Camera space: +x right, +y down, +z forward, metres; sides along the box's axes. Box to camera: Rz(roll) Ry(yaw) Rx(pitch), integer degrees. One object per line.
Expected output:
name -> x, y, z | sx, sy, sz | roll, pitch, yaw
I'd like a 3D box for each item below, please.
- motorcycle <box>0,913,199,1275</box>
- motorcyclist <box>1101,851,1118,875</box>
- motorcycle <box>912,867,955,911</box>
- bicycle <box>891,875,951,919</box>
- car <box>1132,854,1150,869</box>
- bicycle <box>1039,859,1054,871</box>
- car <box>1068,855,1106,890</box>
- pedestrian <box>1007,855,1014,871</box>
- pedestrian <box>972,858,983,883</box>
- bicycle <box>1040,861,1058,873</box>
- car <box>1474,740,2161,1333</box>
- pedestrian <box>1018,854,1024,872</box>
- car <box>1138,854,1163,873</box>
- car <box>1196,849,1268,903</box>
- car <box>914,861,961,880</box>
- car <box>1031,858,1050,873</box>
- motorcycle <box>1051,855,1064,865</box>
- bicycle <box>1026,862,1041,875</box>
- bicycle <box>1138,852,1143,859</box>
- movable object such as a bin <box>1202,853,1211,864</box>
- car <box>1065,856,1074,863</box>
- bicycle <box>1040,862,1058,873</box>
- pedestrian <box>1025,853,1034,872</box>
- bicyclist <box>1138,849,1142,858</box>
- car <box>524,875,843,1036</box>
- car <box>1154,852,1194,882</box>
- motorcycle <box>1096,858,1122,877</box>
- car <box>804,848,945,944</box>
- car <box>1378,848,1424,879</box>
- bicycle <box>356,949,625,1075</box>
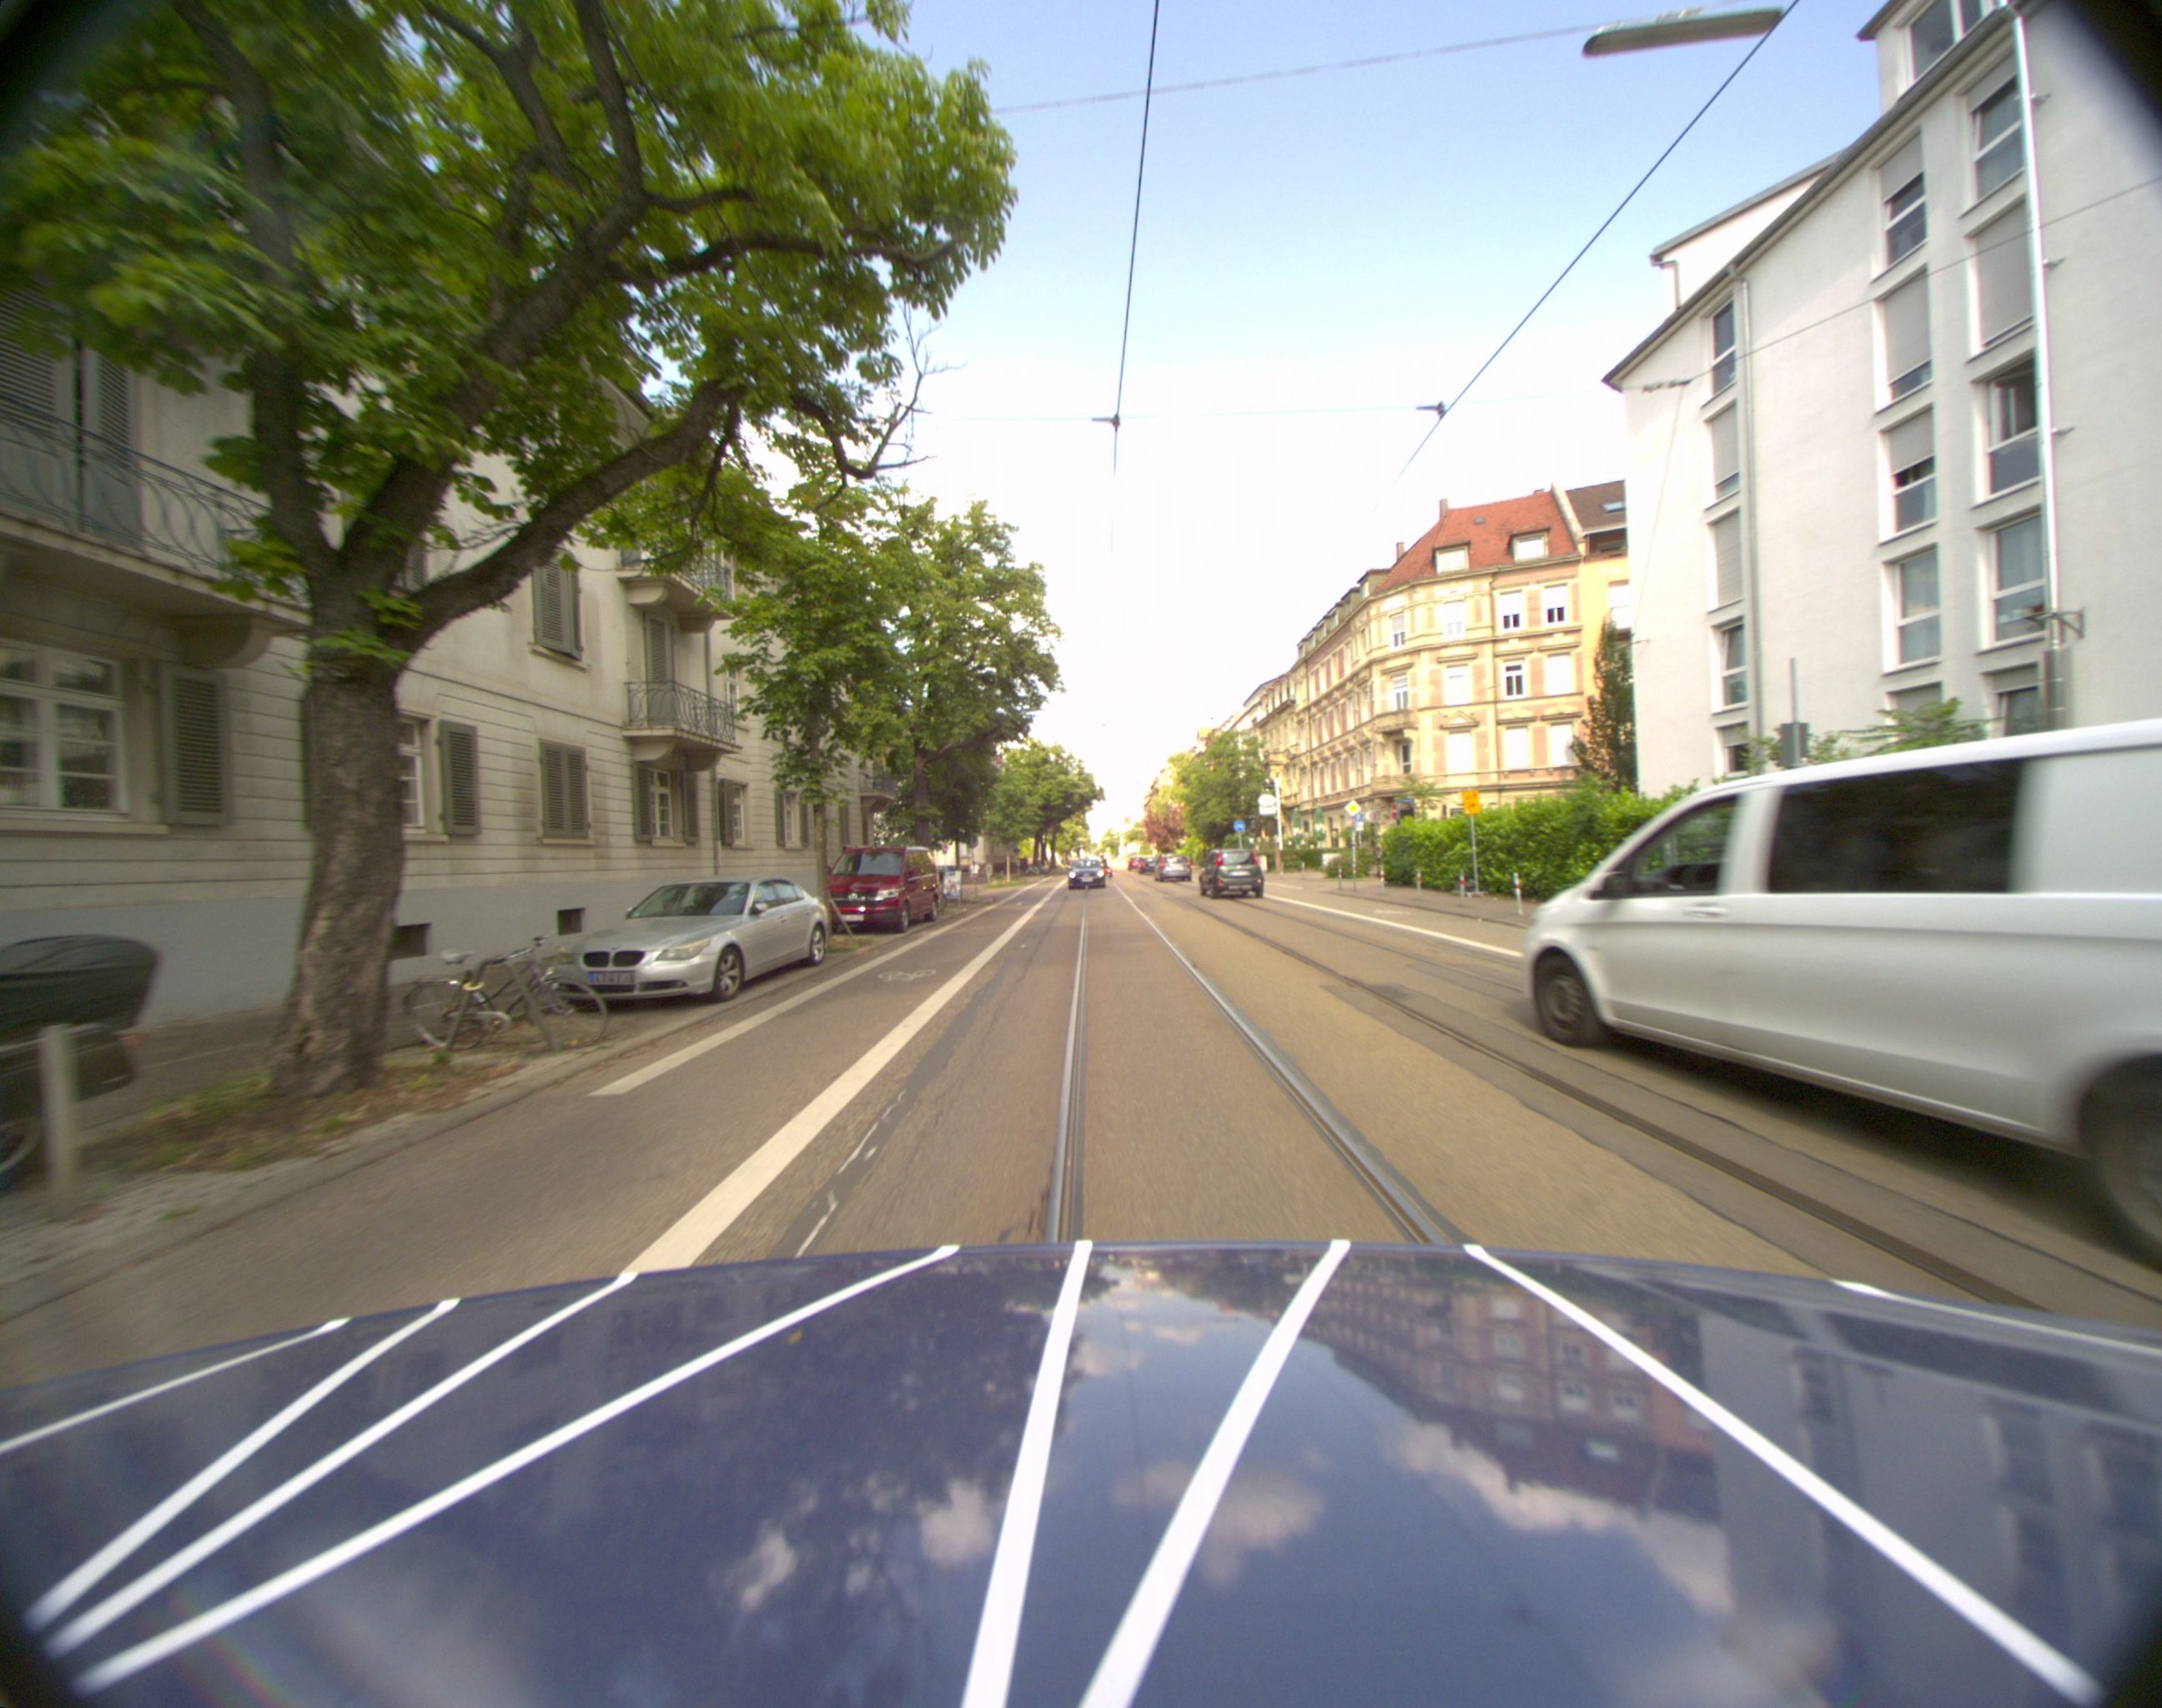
motorcycle -> -5.369, 1.104, 2.859 | 0.982, 1.533, 2.442 | -2, 0, 12
motorcyclist -> 2.072, 0.639, 55.304 | 0.742, 1.704, 0.919 | -3, 1, -35
motorcycle -> -4.942, 1.142, 25.686 | 0.859, 1.314, 2.445 | -3, 0, 1
bicycle -> -4.767, 1.283, 22.711 | 1.614, 1.196, 0.589 | -3, 1, -2
car -> 5.910, 0.709, 75.328 | 1.598, 1.432, 3.936 | -1, 0, 2
bicycle -> -3.698, 1.214, 81.912 | 1.490, 1.213, 0.518 | -3, 1, 7
car -> 0.322, 0.850, 37.549 | 1.693, 1.568, 4.157 | -3, 0, 1
pedestrian -> -7.430, 0.982, 80.038 | 0.582, 1.630, 0.976 | -3, 0, 0
pedestrian -> -7.640, 1.214, 56.078 | 0.619, 1.823, 1.030 | -3, 0, 0
bicycle -> -3.072, 1.264, 72.471 | 1.650, 1.064, 0.348 | -3, 1, 4
car -> 4.368, 0.551, 3.825 | 1.902, 1.896, 5.383 | -2, 0, -1
pedestrian -> -6.369, 0.910, 80.208 | 0.506, 1.842, 0.687 | -3, 0, 0
car -> 5.484, 0.765, 60.589 | 1.632, 1.399, 4.129 | -3, 0, 1
car -> 4.853, 0.663, 24.860 | 1.635, 1.547, 3.821 | -2, 0, 1
car -> -12.333, 1.454, 65.370 | 3.566, 1.443, 1.734 | -3, 0, 24
car -> -4.076, 1.169, 77.350 | 1.589, 1.436, 3.898 | -3, 0, 1
motorcycle -> -3.610, 0.901, 117.481 | 0.812, 1.485, 2.065 | -3, 0, -43
bicycle -> -4.221, 1.287, 67.934 | 1.271, 1.060, 0.478 | -3, 1, 0
bicycle -> 9.000, 0.277, 115.257 | 0.570, 0.984, 1.918 | -3, 0, 3
movable object such as a bin -> 12.773, 0.481, 77.423 | 0.774, 1.101, 0.734 | -3, 0, 0
car -> -2.458, 1.157, 162.062 | 1.693, 1.537, 3.617 | -3, 0, 0
bicycle -> -3.035, 1.298, 72.919 | 1.650, 1.064, 0.348 | -3, 1, 4
pedestrian -> -5.461, 0.896, 80.298 | 0.755, 1.878, 0.886 | -3, 0, 0
bicyclist -> 8.987, -0.068, 115.343 | 0.566, 1.417, 0.942 | -3, 0, 3
car -> -4.894, 1.124, 10.319 | 1.711, 1.489, 4.789 | -2, 0, 1
car -> 5.105, 0.690, 42.087 | 1.731, 1.531, 4.277 | -2, 0, 1
motorcycle -> 2.037, 0.980, 55.366 | 0.743, 1.352, 2.083 | -3, 0, -35
car -> -4.726, 0.867, 18.225 | 1.900, 1.929, 4.950 | -2, 0, 1
car -> 15.730, 0.430, 37.520 | 1.889, 1.356, 4.969 | -3, 0, 21
bicycle -> -5.022, 1.333, 6.531 | 1.780, 0.897, 0.692 | -2, 0, 4
